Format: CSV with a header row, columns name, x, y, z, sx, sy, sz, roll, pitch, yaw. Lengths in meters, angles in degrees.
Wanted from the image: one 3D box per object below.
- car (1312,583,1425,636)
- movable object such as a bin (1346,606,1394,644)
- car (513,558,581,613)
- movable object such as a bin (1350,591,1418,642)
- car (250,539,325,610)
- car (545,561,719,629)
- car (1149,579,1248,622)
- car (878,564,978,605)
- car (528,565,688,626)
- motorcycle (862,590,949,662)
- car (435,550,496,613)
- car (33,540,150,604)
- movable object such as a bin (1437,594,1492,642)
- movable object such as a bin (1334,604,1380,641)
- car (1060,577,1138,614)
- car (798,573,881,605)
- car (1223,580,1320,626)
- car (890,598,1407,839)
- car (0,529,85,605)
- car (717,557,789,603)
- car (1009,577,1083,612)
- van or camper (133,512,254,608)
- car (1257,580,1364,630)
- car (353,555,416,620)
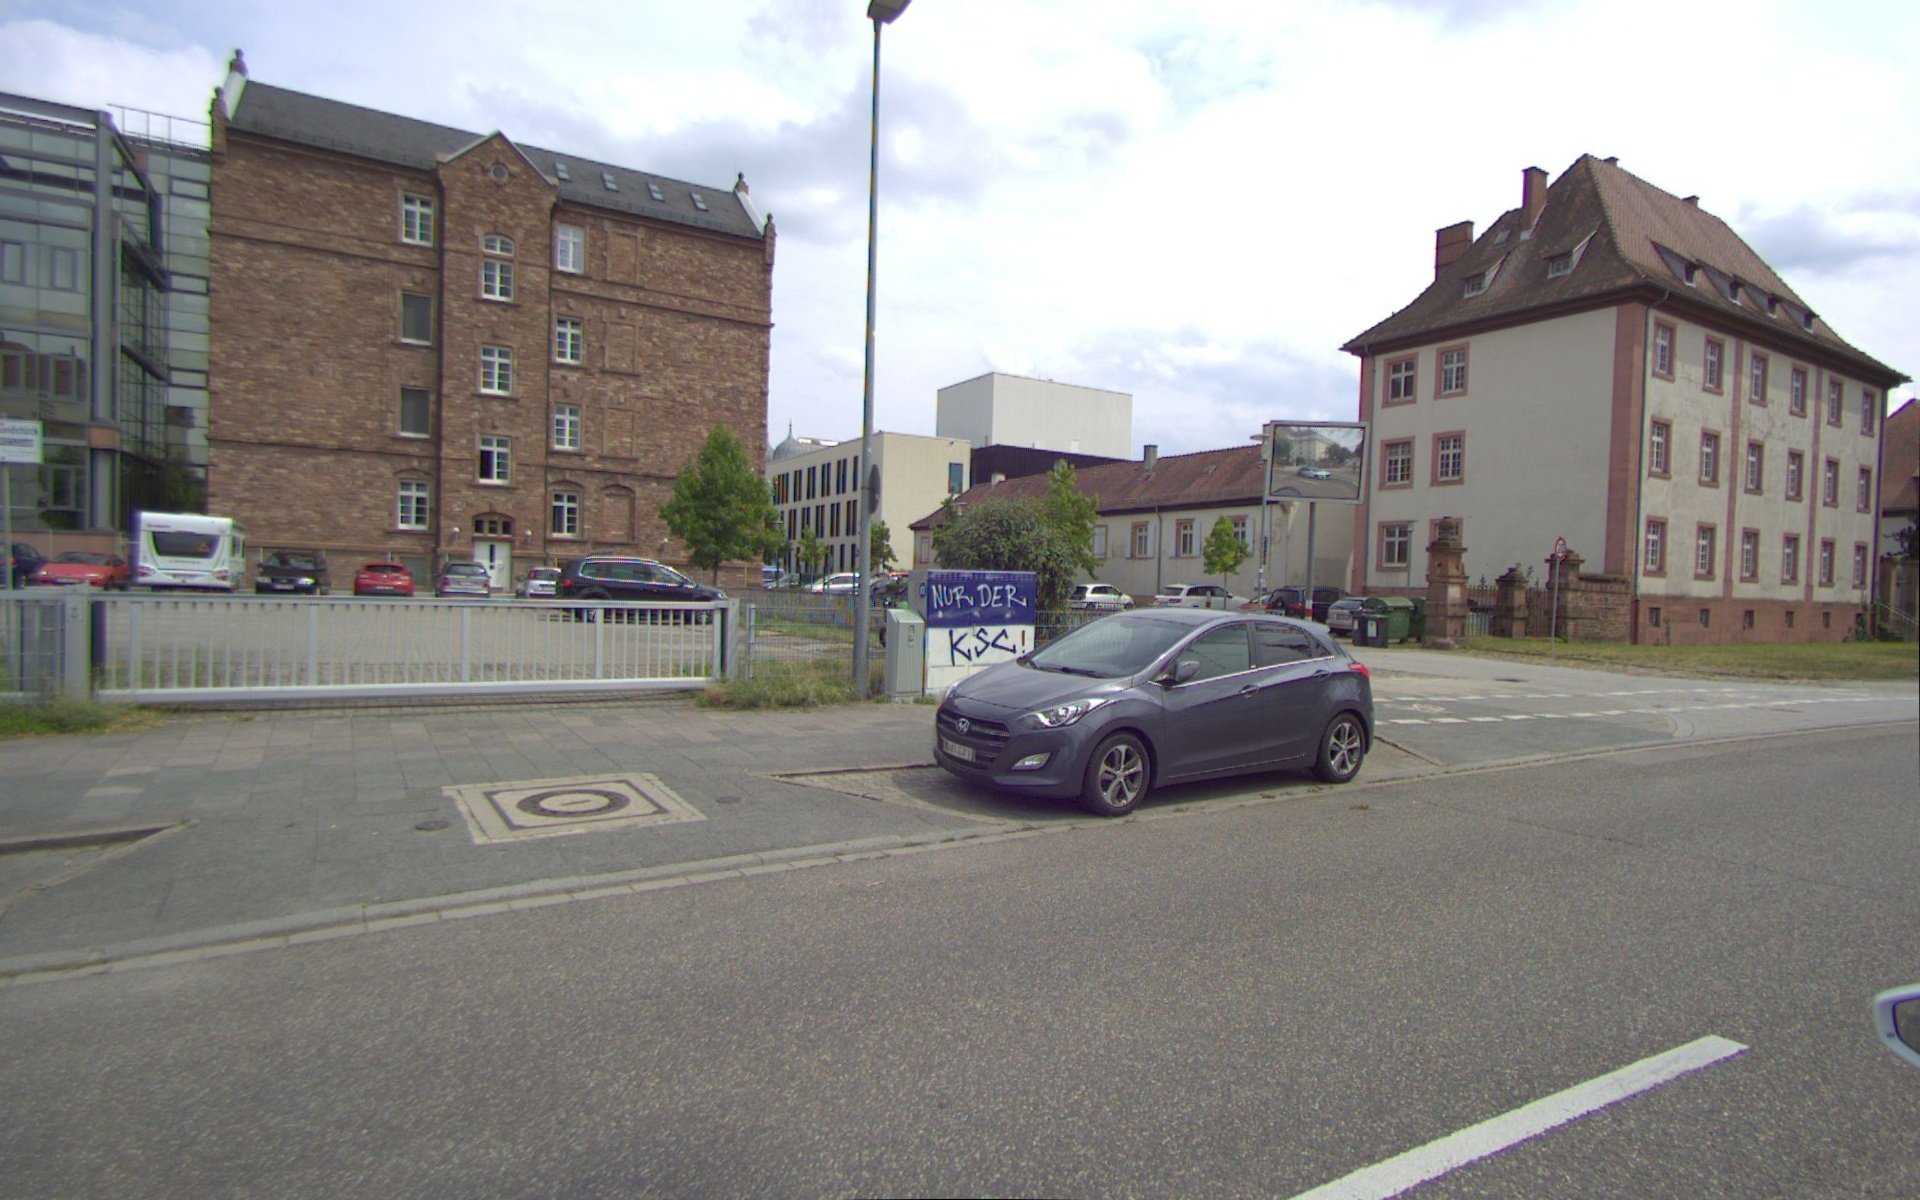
name,x,y,z,sx,sy,sz,roll,pitch,yaw
car,14.678,0.299,36.047,3.911,1.734,1.758,-2,3,-30
movable object such as a bin,11.750,0.713,28.816,0.701,1.047,1.033,1,1,-30
car,-15.953,-0.526,38.684,1.853,1.964,4.484,1,0,-29
movable object such as a bin,13.031,0.498,30.889,1.552,1.487,1.196,1,1,-30
car,-22.286,-0.810,33.435,1.706,2.165,4.341,1,0,-29
car,-8.991,-0.120,27.626,4.189,1.678,1.952,2,1,-33
car,10.471,-0.018,44.044,4.239,1.734,1.758,-2,3,-30
car,-1.406,-0.664,44.371,4.116,1.734,1.577,0,2,-29
car,-10.580,-0.126,30.226,4.189,1.678,1.952,2,1,-33
motorcycle,-0.974,0.423,17.302,0.716,1.157,2.083,1,-1,-26
car,-18.349,-0.670,37.198,1.706,2.165,4.340,1,0,-30
car,-26.705,-0.820,31.039,1.704,1.808,4.345,1,0,-27
movable object such as a bin,16.319,0.567,32.473,1.310,1.487,1.565,3,1,35
movable object such as a bin,11.914,0.680,30.140,0.701,1.047,1.033,1,1,-30
car,7.055,-0.240,50.871,3.652,1.734,1.758,-2,3,-30
car,-6.358,-0.581,53.117,4.116,1.571,1.577,0,2,-29
car,12.617,0.079,40.649,3.652,1.734,1.758,-2,3,-30
car,1.714,0.814,8.609,4.252,1.493,1.811,1,3,-34
car,-28.785,-0.970,30.592,2.176,2.165,4.345,1,0,-27
car,-12.946,-1.218,62.744,4.118,2.750,1.576,0,2,-30
car,4.629,-0.328,53.864,3.652,1.734,1.758,-2,3,-30
van or camper,-24.130,-1.186,31.849,2.553,2.739,5.020,1,0,-32
car,13.362,0.151,38.286,3.911,1.734,1.758,-2,3,-30
car,-20.300,-0.425,35.498,1.783,2.165,4.341,1,0,-29
